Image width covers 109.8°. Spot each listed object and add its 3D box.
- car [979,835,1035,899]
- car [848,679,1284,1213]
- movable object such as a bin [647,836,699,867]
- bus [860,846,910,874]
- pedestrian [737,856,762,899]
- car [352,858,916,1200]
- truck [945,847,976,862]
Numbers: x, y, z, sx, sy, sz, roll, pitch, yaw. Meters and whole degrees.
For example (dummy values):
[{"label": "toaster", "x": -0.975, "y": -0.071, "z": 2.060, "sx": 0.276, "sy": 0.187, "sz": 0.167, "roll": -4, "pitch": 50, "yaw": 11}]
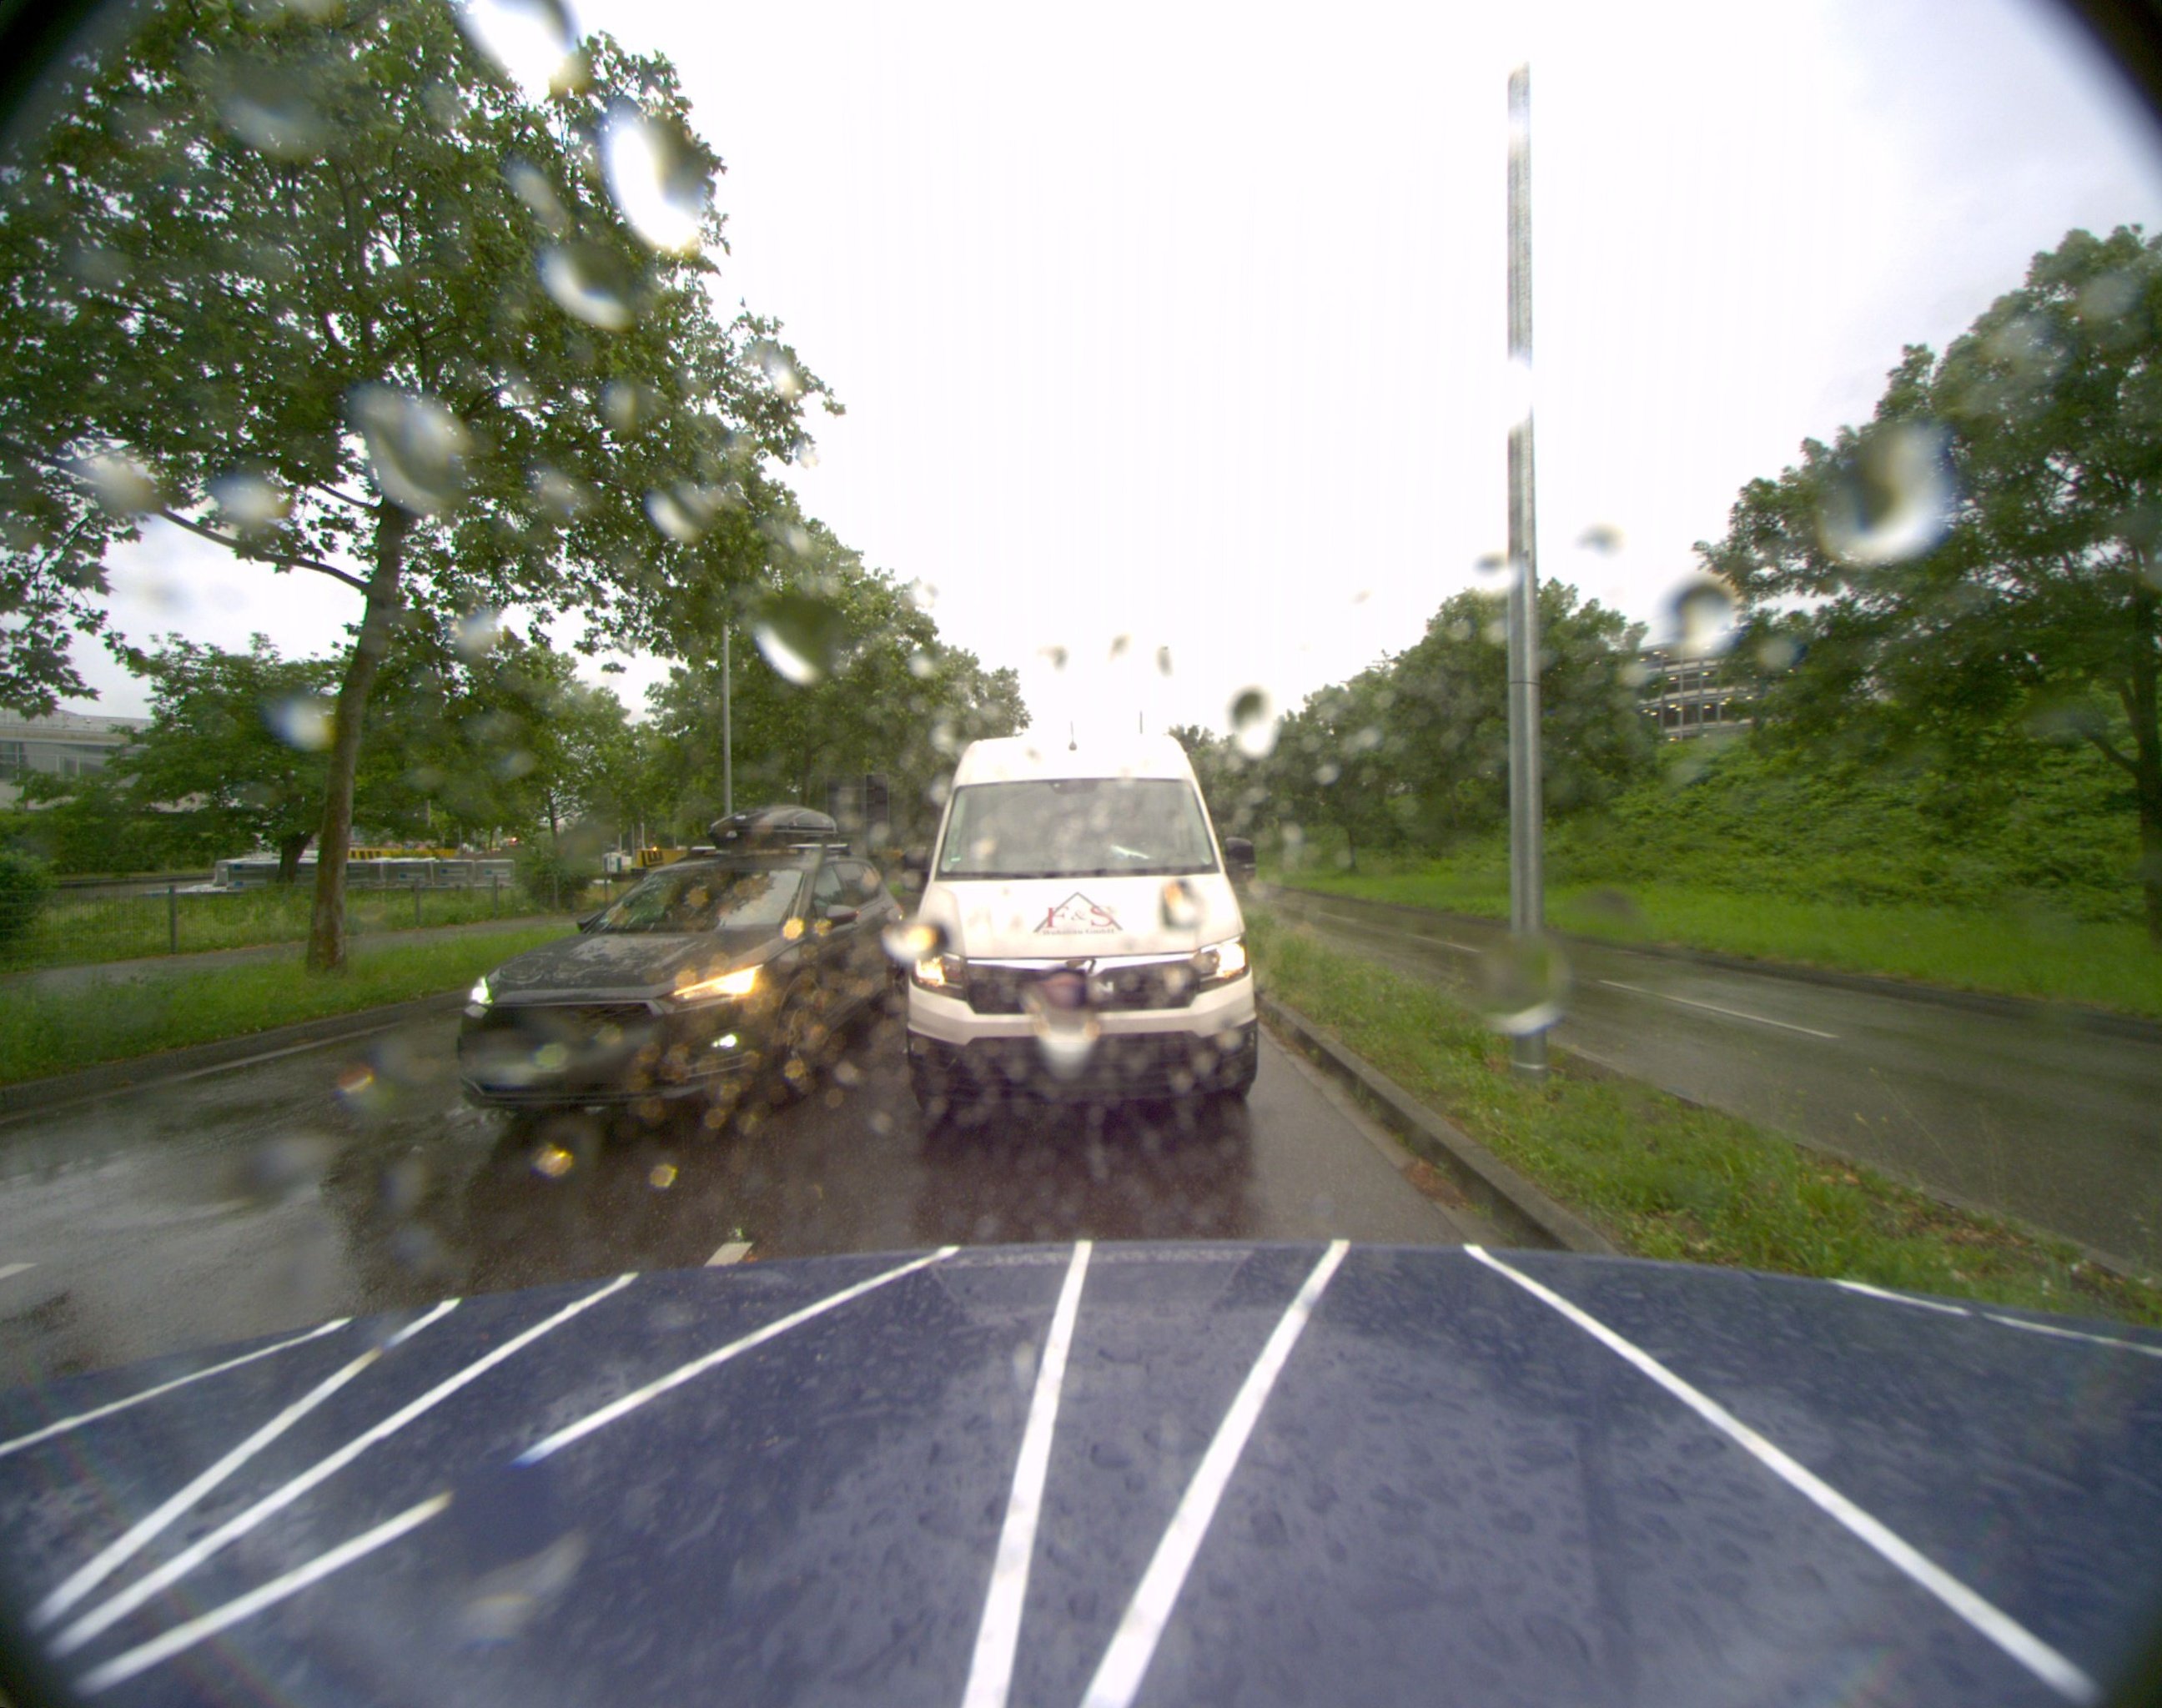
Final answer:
[{"label": "car", "x": -3.018, "y": 0.498, "z": 32.098, "sx": 1.894, "sy": 2.432, "sz": 5.317, "roll": -1, "pitch": 0, "yaw": -1}, {"label": "car", "x": -0.114, "y": 0.427, "z": 6.458, "sx": 2.027, "sy": 2.498, "sz": 5.695, "roll": -1, "pitch": 0, "yaw": -1}, {"label": "movable object such as a bin", "x": -48.068, "y": -0.344, "z": 89.557, "sx": 1.913, "sy": 3.415, "sz": 4.947, "roll": -1, "pitch": 1, "yaw": 34}, {"label": "bus", "x": -19.151, "y": 0.550, "z": 74.389, "sx": 4.370, "sy": 2.553, "sz": 1.711, "roll": -2, "pitch": 1, "yaw": 0}, {"label": "pedestrian", "x": -13.679, "y": 0.965, "z": 31.348, "sx": 0.646, "sy": 1.707, "sz": 0.656, "roll": -2, "pitch": 1, "yaw": 1}, {"label": "car", "x": -2.765, "y": 0.911, "z": 6.107, "sx": 1.894, "sy": 1.688, "sz": 4.423, "roll": -1, "pitch": 0, "yaw": 0}, {"label": "truck", "x": -21.004, "y": 0.058, "z": 132.616, "sx": 5.061, "sy": 2.363, "sz": 1.792, "roll": -3, "pitch": 1, "yaw": -30}]
